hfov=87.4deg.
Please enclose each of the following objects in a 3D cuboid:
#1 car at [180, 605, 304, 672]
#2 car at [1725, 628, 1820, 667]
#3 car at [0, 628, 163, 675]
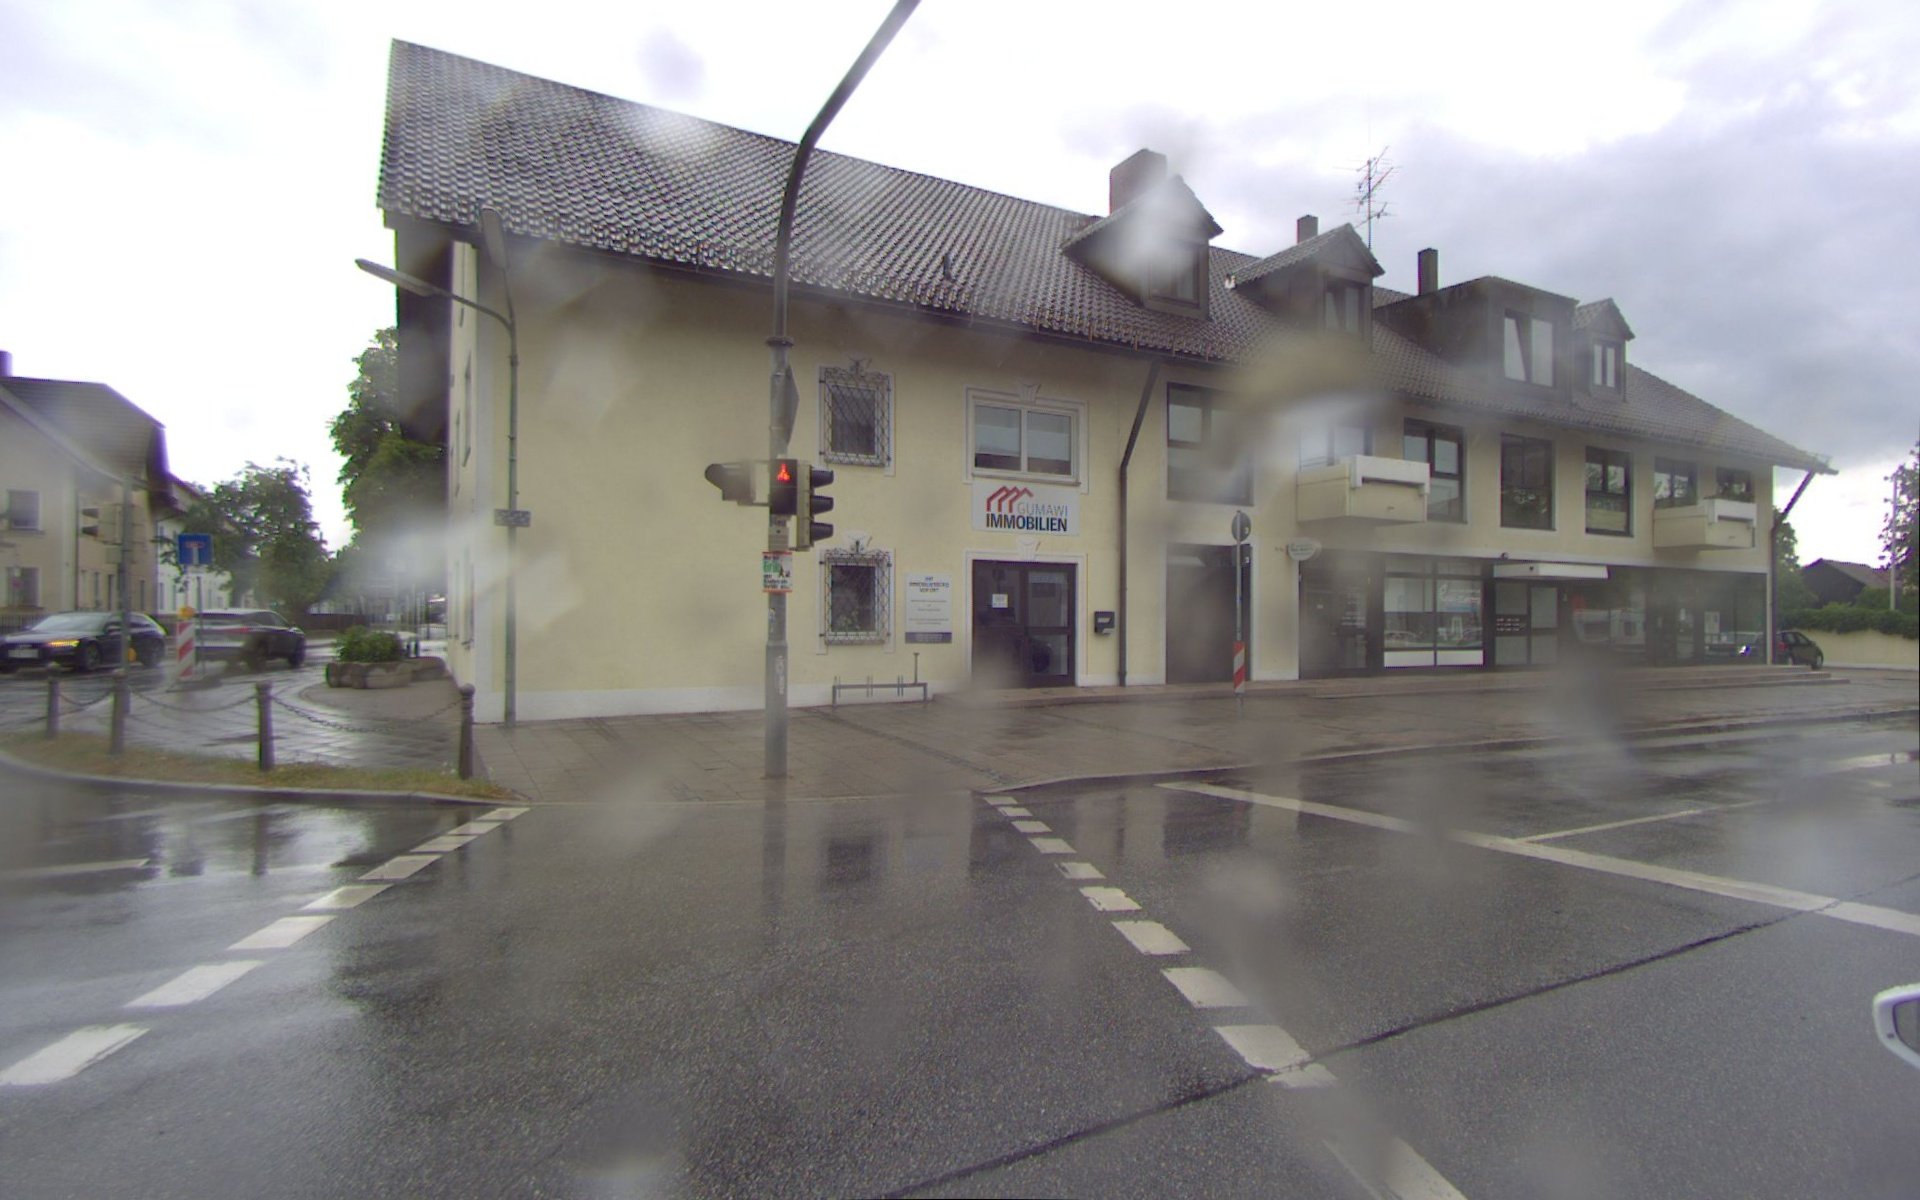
[{"bbox_3d":[-19.641,1.081,27.688,2.062,1.695,4.358,2,-3,-26],"label":"car"},{"bbox_3d":[30.215,1.748,37.341,3.467,1.398,1.600,1,-2,-30],"label":"car"},{"bbox_3d":[-21.802,1.253,25.122,1.400,1.030,4.061,1,-1,-15],"label":"car"}]
